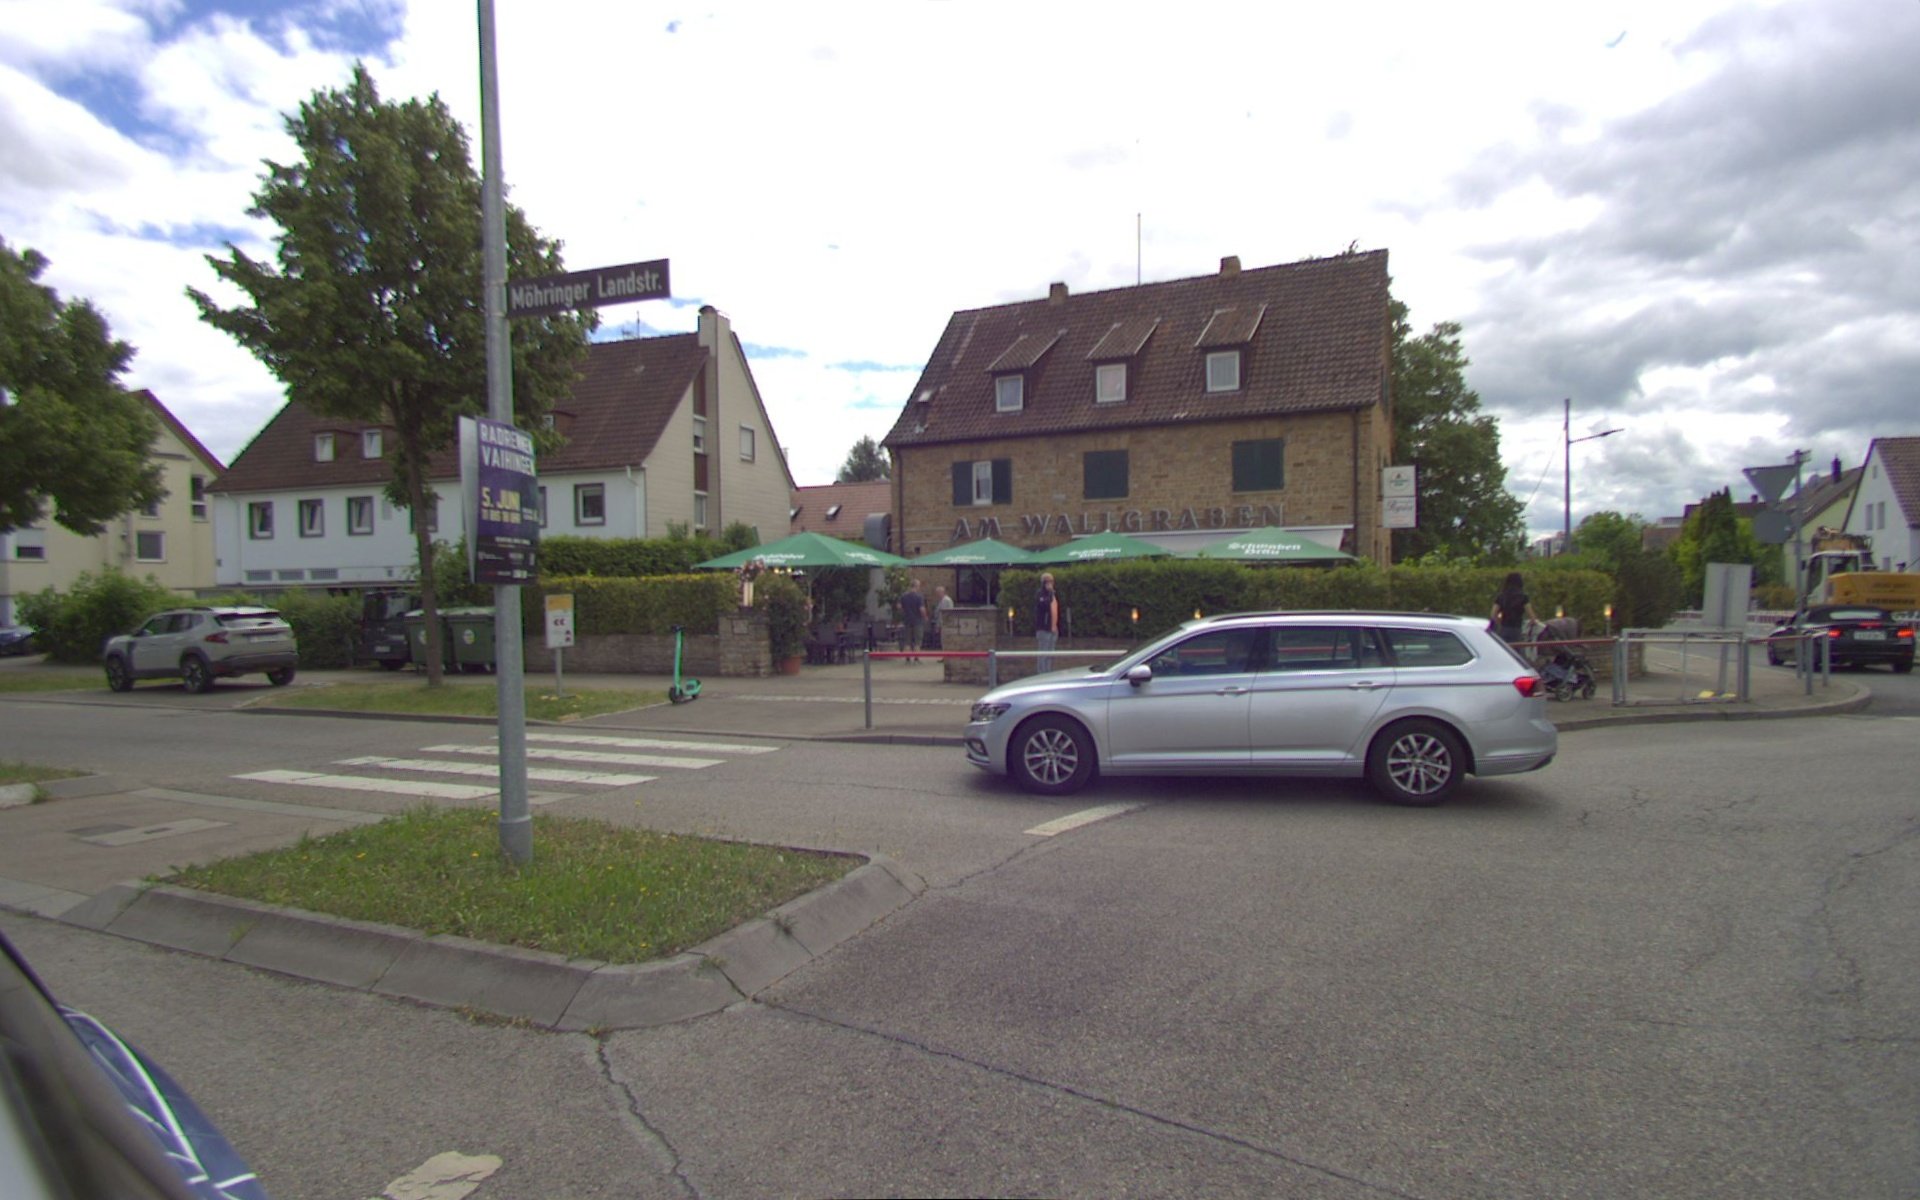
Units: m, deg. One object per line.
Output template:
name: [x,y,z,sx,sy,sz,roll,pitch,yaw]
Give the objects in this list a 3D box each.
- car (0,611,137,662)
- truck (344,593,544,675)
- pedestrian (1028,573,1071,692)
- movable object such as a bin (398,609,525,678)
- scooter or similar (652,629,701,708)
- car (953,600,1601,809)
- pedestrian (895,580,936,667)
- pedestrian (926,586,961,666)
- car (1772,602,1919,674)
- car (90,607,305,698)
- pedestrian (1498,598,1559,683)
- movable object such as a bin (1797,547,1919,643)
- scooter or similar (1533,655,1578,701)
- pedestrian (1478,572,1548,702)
car: [-31.208,1.209,34.951,1.739,1.551,4.021,-2,0,20]
truck: [-13.023,0.786,25.860,1.852,1.864,4.470,-2,0,20]
pedestrian: [1.424,0.502,16.061,0.561,1.840,0.635,-2,1,11]
movable object such as a bin: [-10.978,0.941,22.262,2.705,1.427,0.977,-1,0,24]
scooter or similar: [-4.347,1.034,15.549,0.376,1.140,1.047,-1,0,4]
car: [2.404,0.801,8.513,4.645,1.465,1.800,-1,-1,13]
pedestrian: [-0.968,0.502,22.042,0.567,1.840,0.629,-1,0,42]
pedestrian: [-0.366,0.560,22.456,0.567,1.740,0.483,-1,0,42]
car: [18.833,0.750,21.472,1.691,1.343,3.583,-1,0,26]
car: [-15.426,1.027,20.470,4.023,1.648,1.738,-1,0,24]
pedestrian: [7.675,0.542,13.663,0.590,1.108,0.446,-2,0,44]
movable object such as a bin: [29.509,-0.150,32.797,2.662,2.937,3.671,-1,0,24]
scooter or similar: [7.884,1.027,13.406,0.431,0.566,0.356,-2,0,44]
pedestrian: [7.212,0.473,13.210,0.603,1.646,0.452,-2,0,3]
